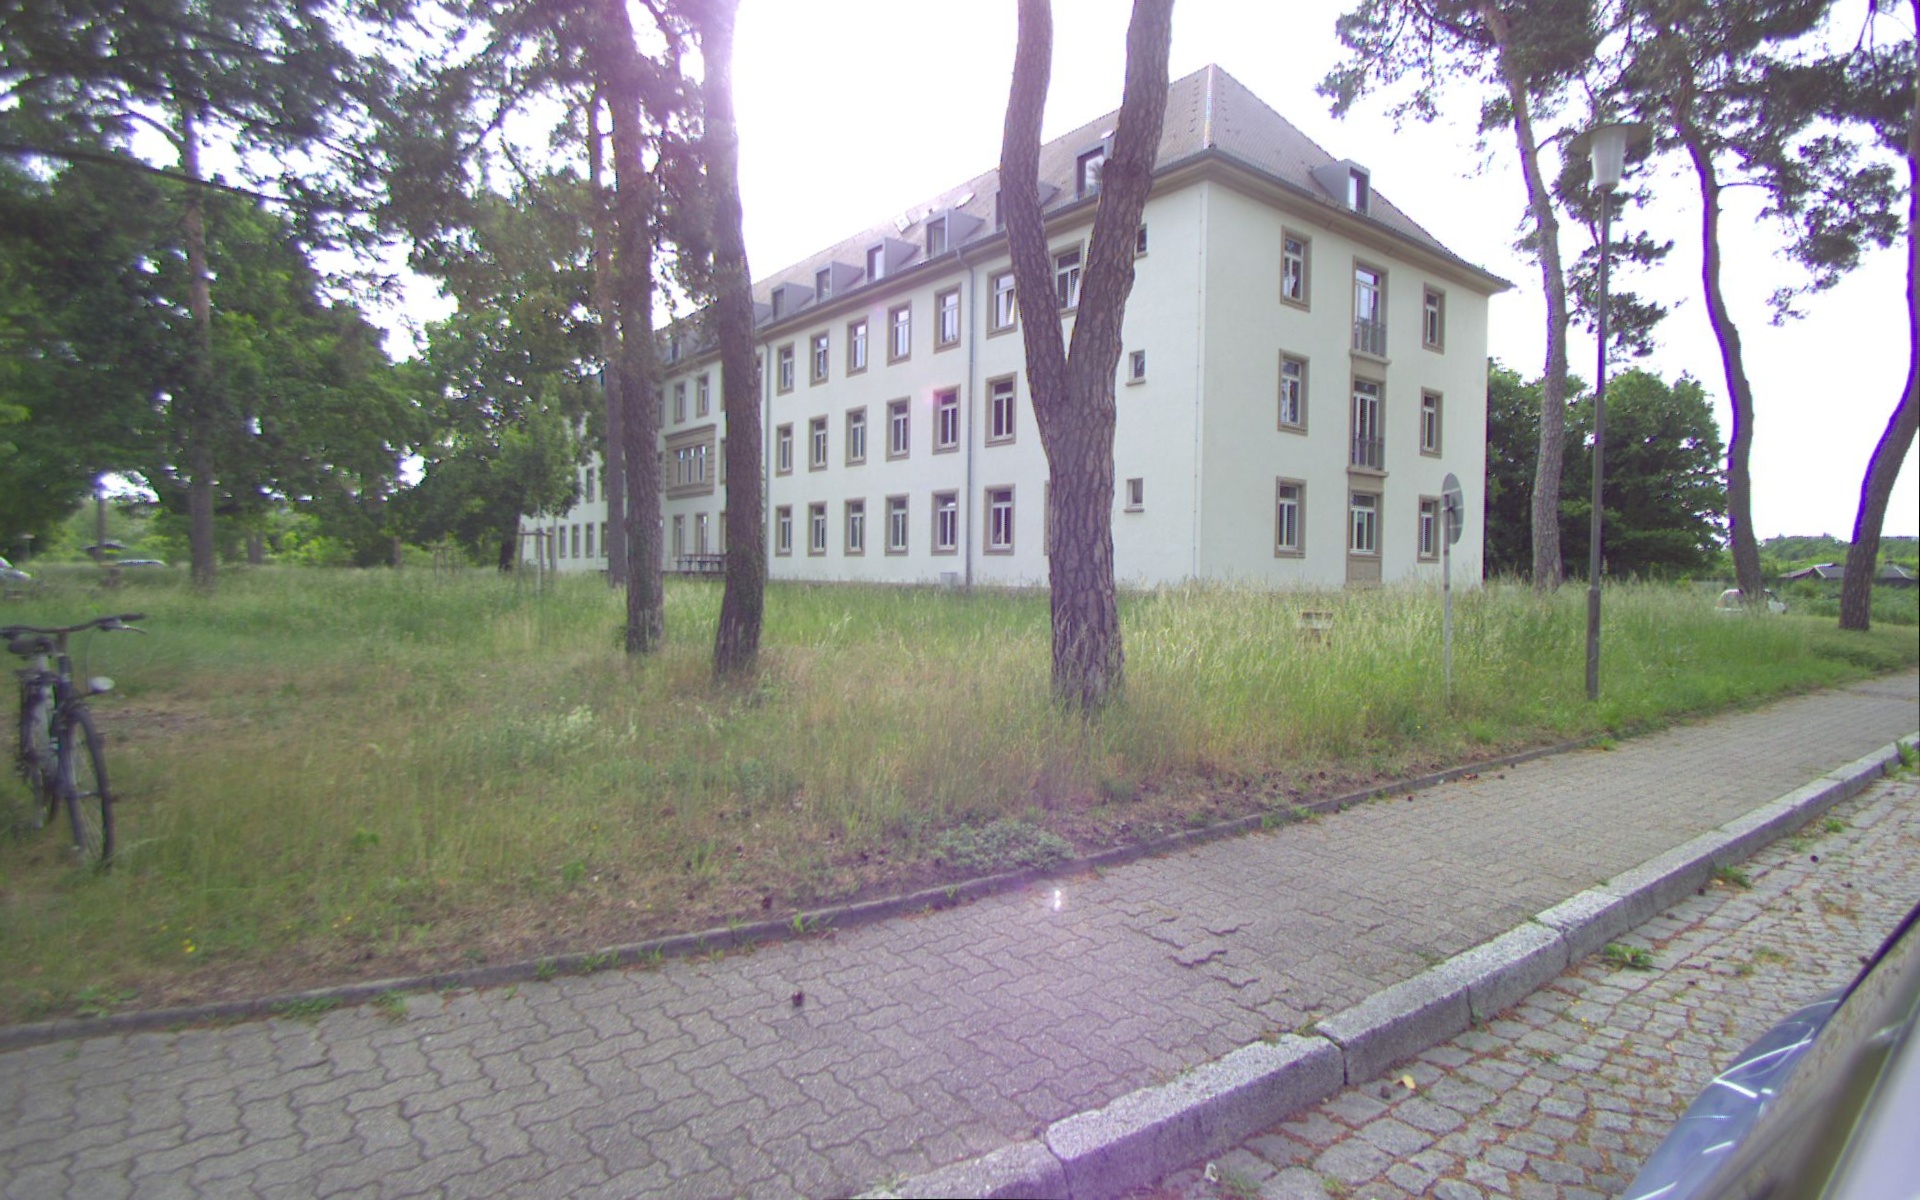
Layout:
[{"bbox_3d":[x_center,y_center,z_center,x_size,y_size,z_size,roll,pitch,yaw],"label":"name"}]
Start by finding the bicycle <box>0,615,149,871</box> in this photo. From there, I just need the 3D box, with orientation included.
[{"bbox_3d":[-4.031,0.550,4.553,0.562,0.885,1.704,0,2,-38],"label":"bicycle"}]

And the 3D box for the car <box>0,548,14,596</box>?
[{"bbox_3d":[-38.327,-1.053,37.490,4.610,1.795,1.999,-1,2,-38],"label":"car"}]

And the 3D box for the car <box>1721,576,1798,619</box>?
[{"bbox_3d":[31.104,-0.128,39.347,3.220,1.451,1.641,-3,4,-38],"label":"car"}]

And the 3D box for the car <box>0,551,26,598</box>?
[{"bbox_3d":[-35.813,-0.902,35.406,4.434,1.638,1.999,-1,2,-38],"label":"car"}]
